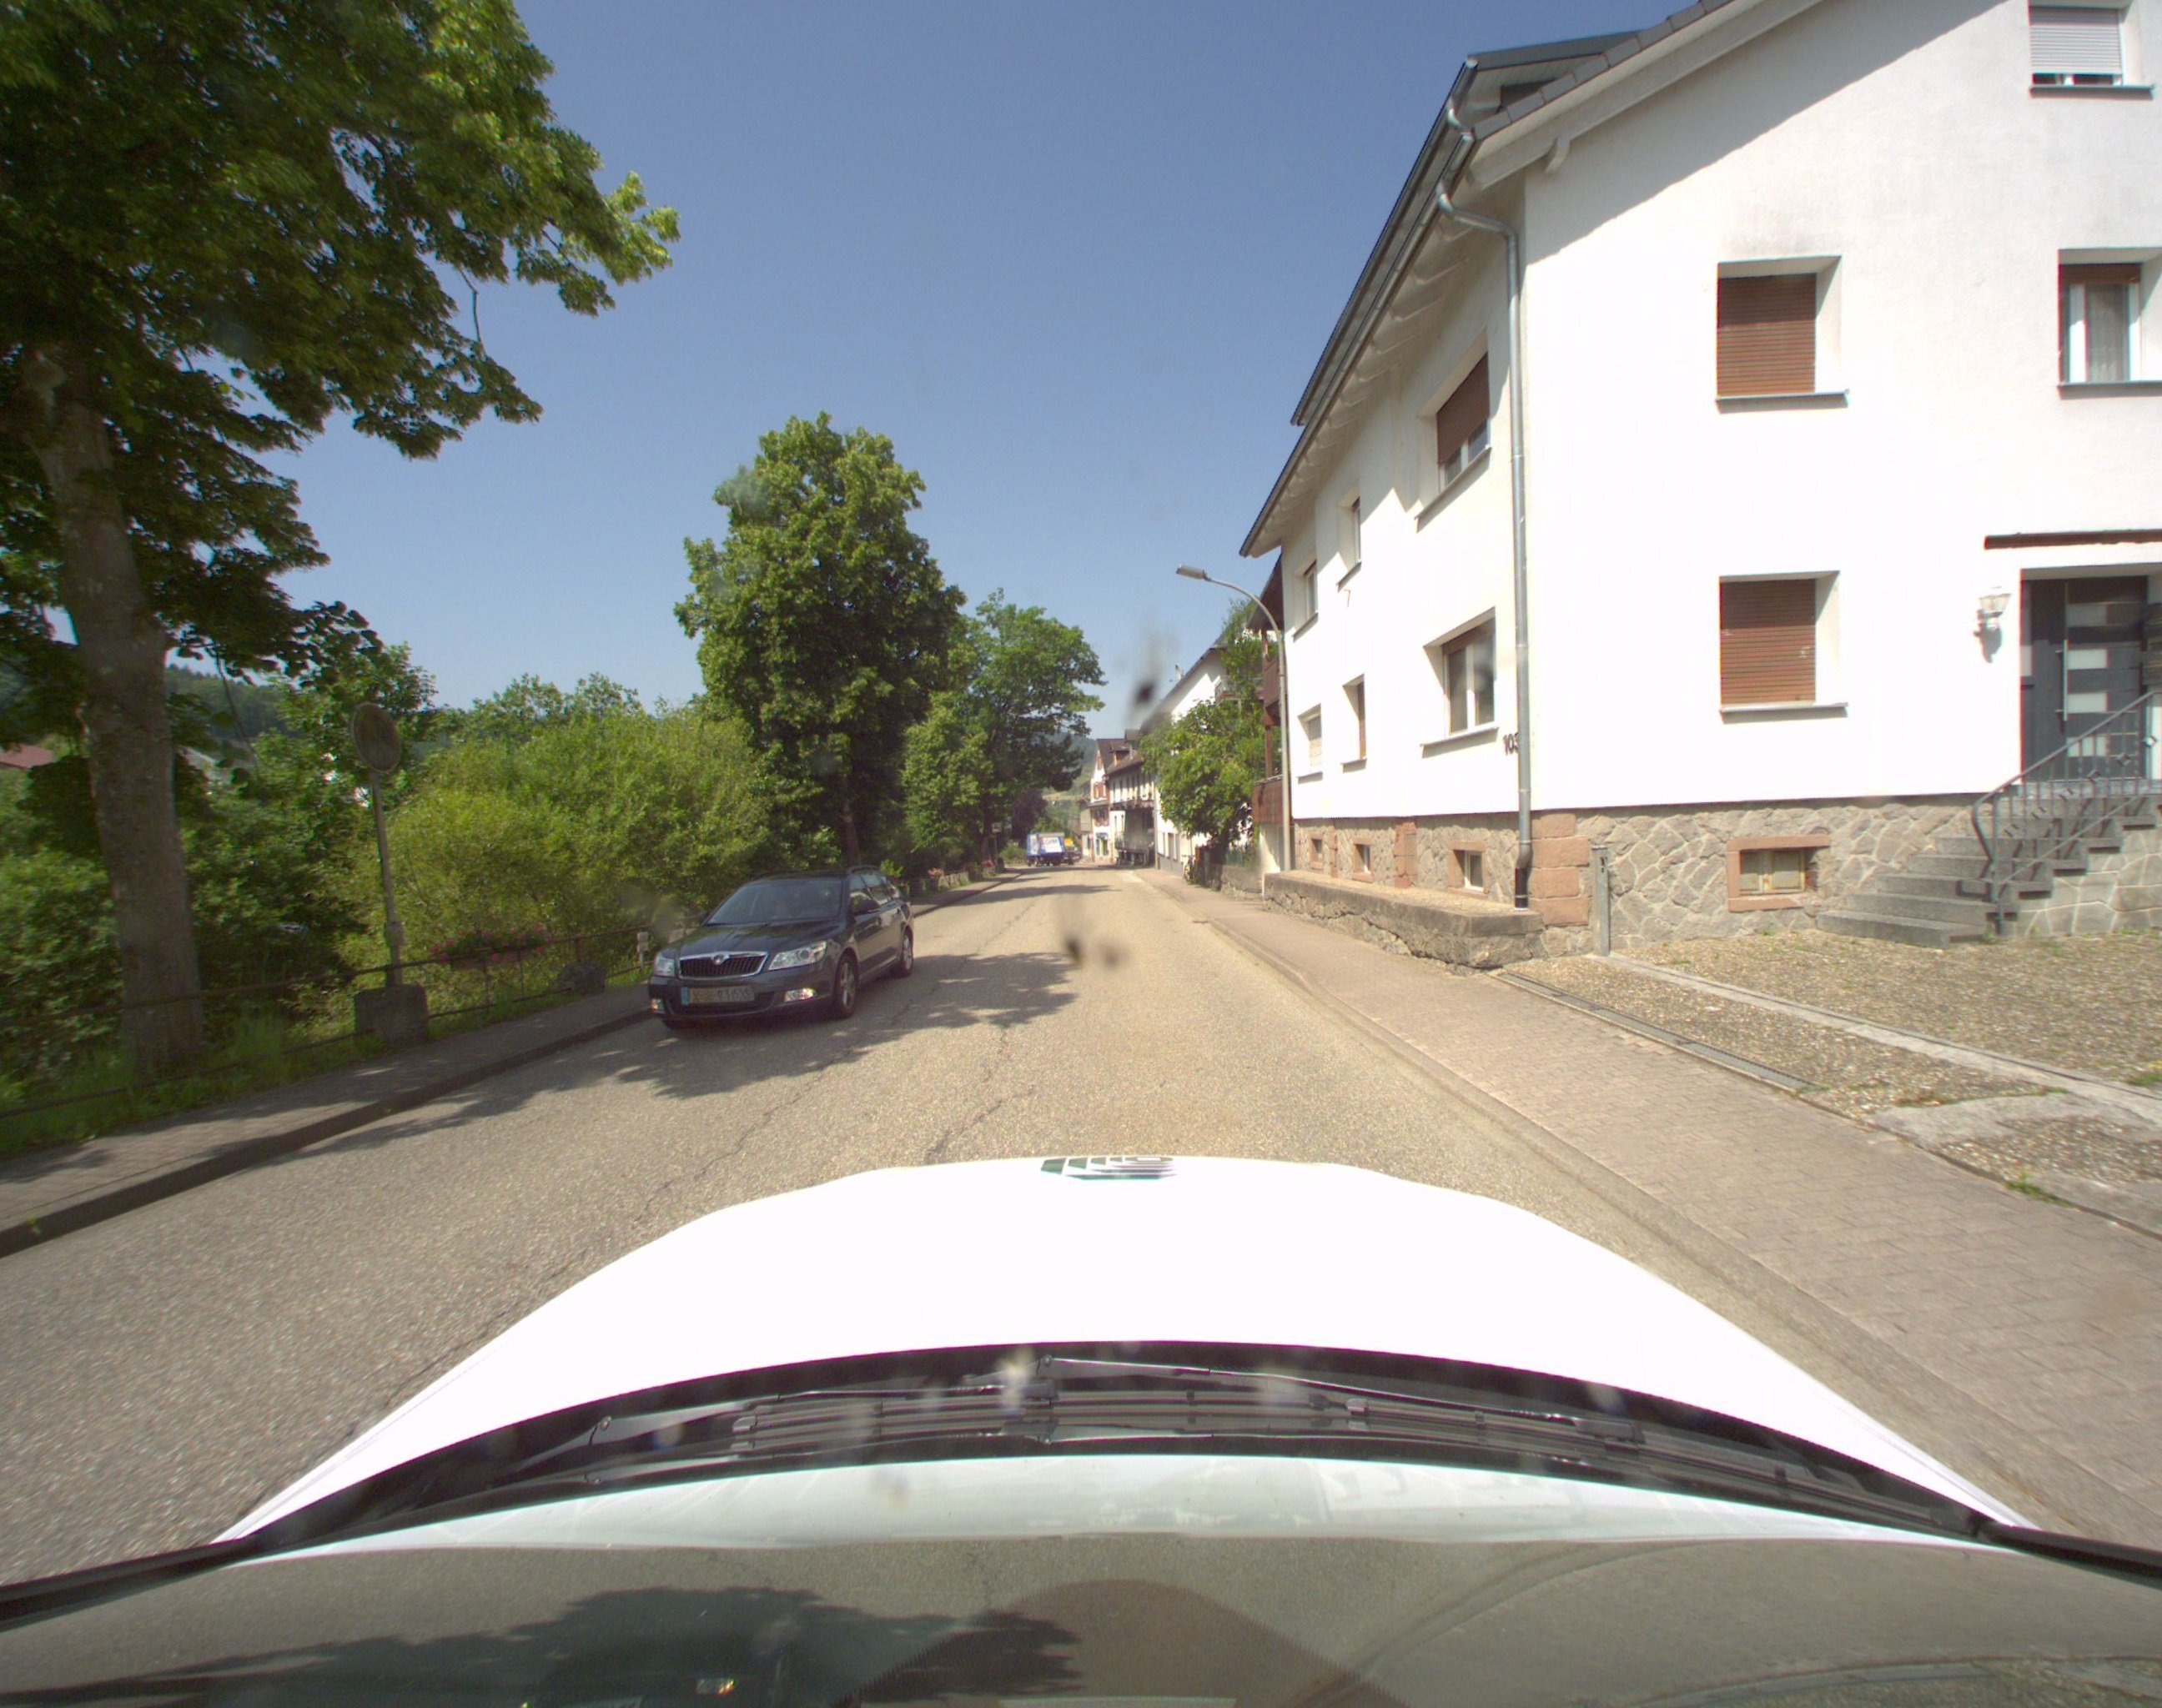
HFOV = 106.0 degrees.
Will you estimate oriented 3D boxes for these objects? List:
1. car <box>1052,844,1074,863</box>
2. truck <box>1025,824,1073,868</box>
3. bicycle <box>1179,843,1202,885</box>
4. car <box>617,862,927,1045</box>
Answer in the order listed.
[{"bbox_3d":[-2.018,-0.015,91.561,1.774,1.838,3.986,-5,-2,-9],"label":"car"},{"bbox_3d":[-3.408,-0.738,84.055,3.365,3.782,8.406,-5,-2,-11],"label":"truck"},{"bbox_3d":[3.822,0.330,28.549,0.424,1.396,2.278,-6,0,2],"label":"bicycle"},{"bbox_3d":[-3.029,0.872,8.995,1.660,1.418,4.088,-4,0,2],"label":"car"}]
